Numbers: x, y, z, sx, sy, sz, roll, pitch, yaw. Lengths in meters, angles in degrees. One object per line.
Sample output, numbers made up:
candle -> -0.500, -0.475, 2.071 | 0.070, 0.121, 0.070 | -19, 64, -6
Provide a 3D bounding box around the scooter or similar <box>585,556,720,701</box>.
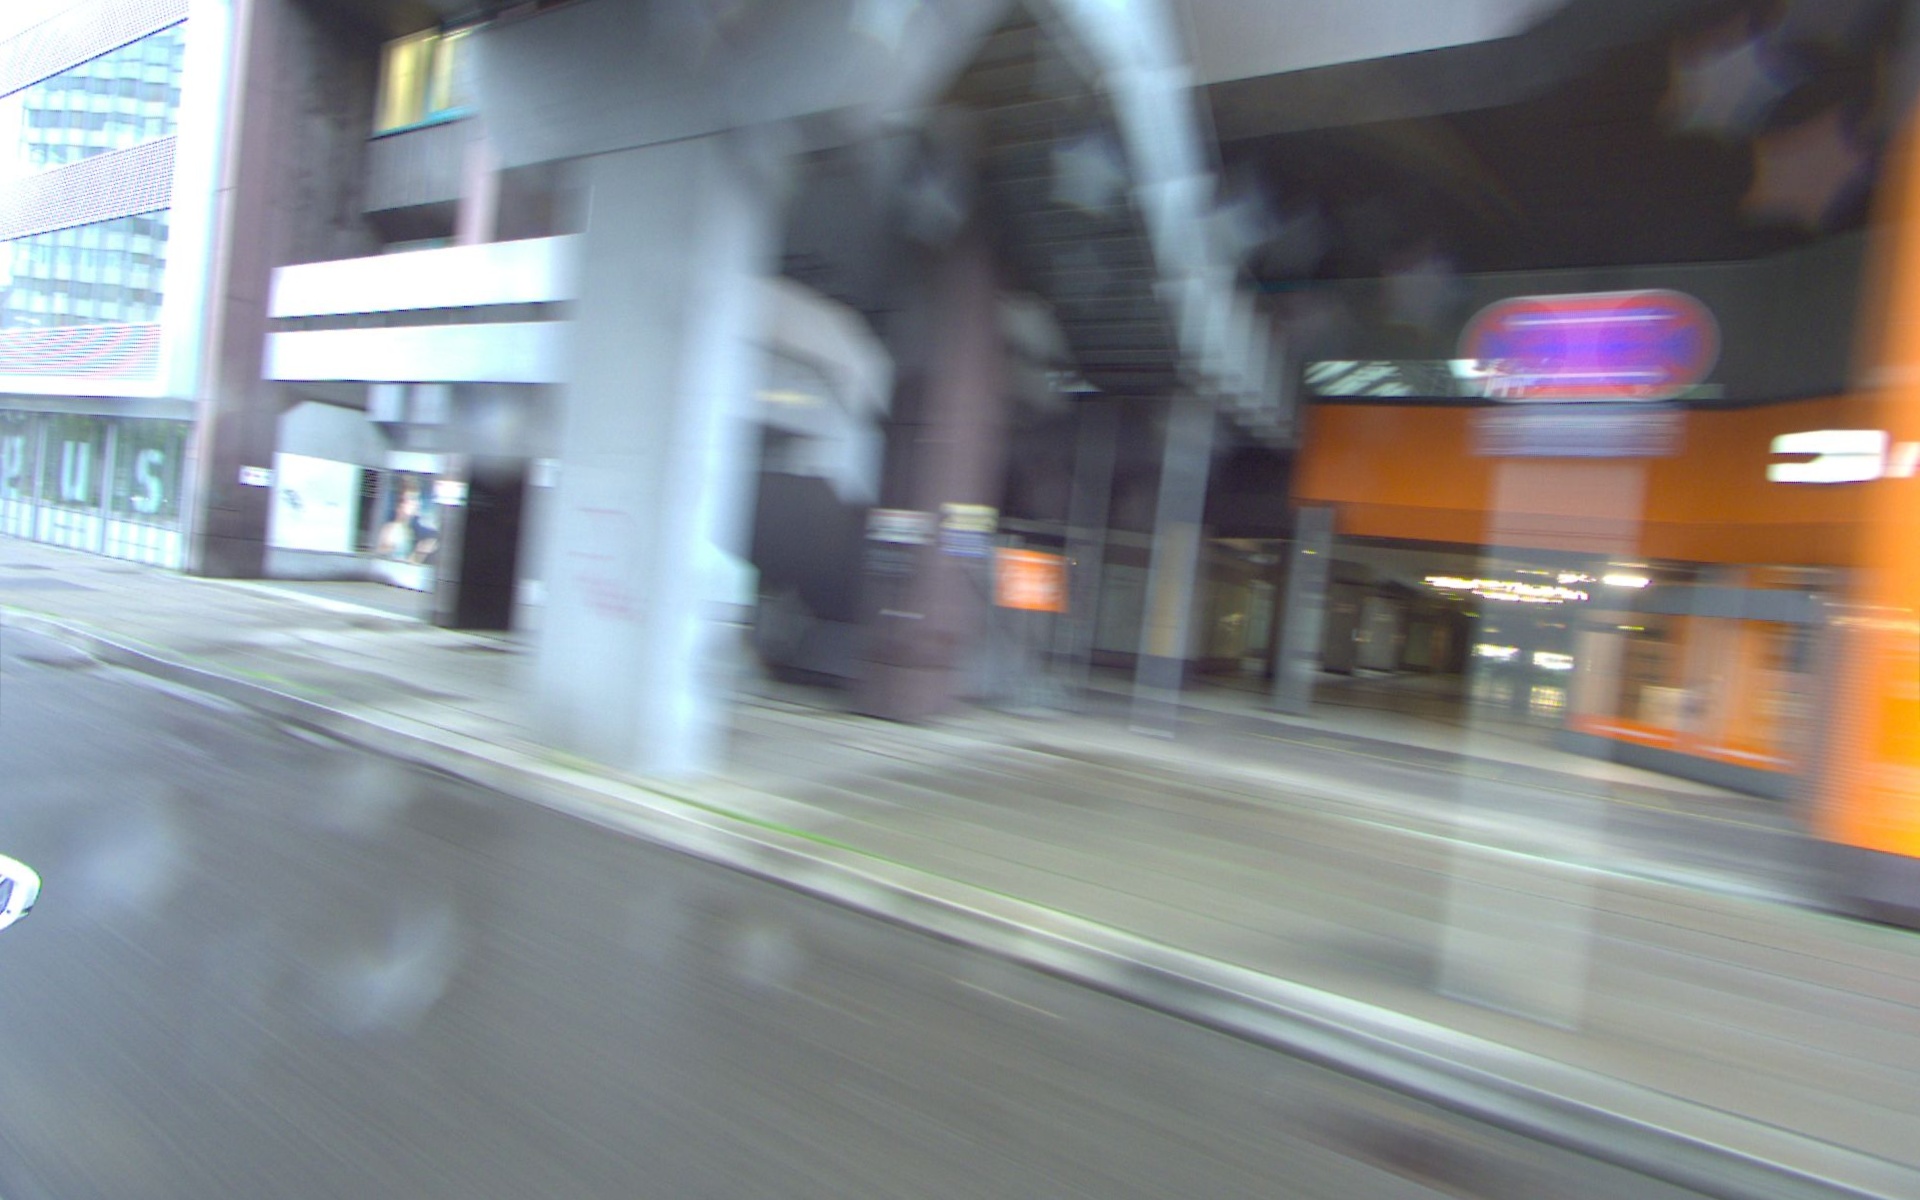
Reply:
scooter or similar -> -3.087, 0.264, 10.040 | 1.371, 1.272, 0.350 | 7, 1, 31
